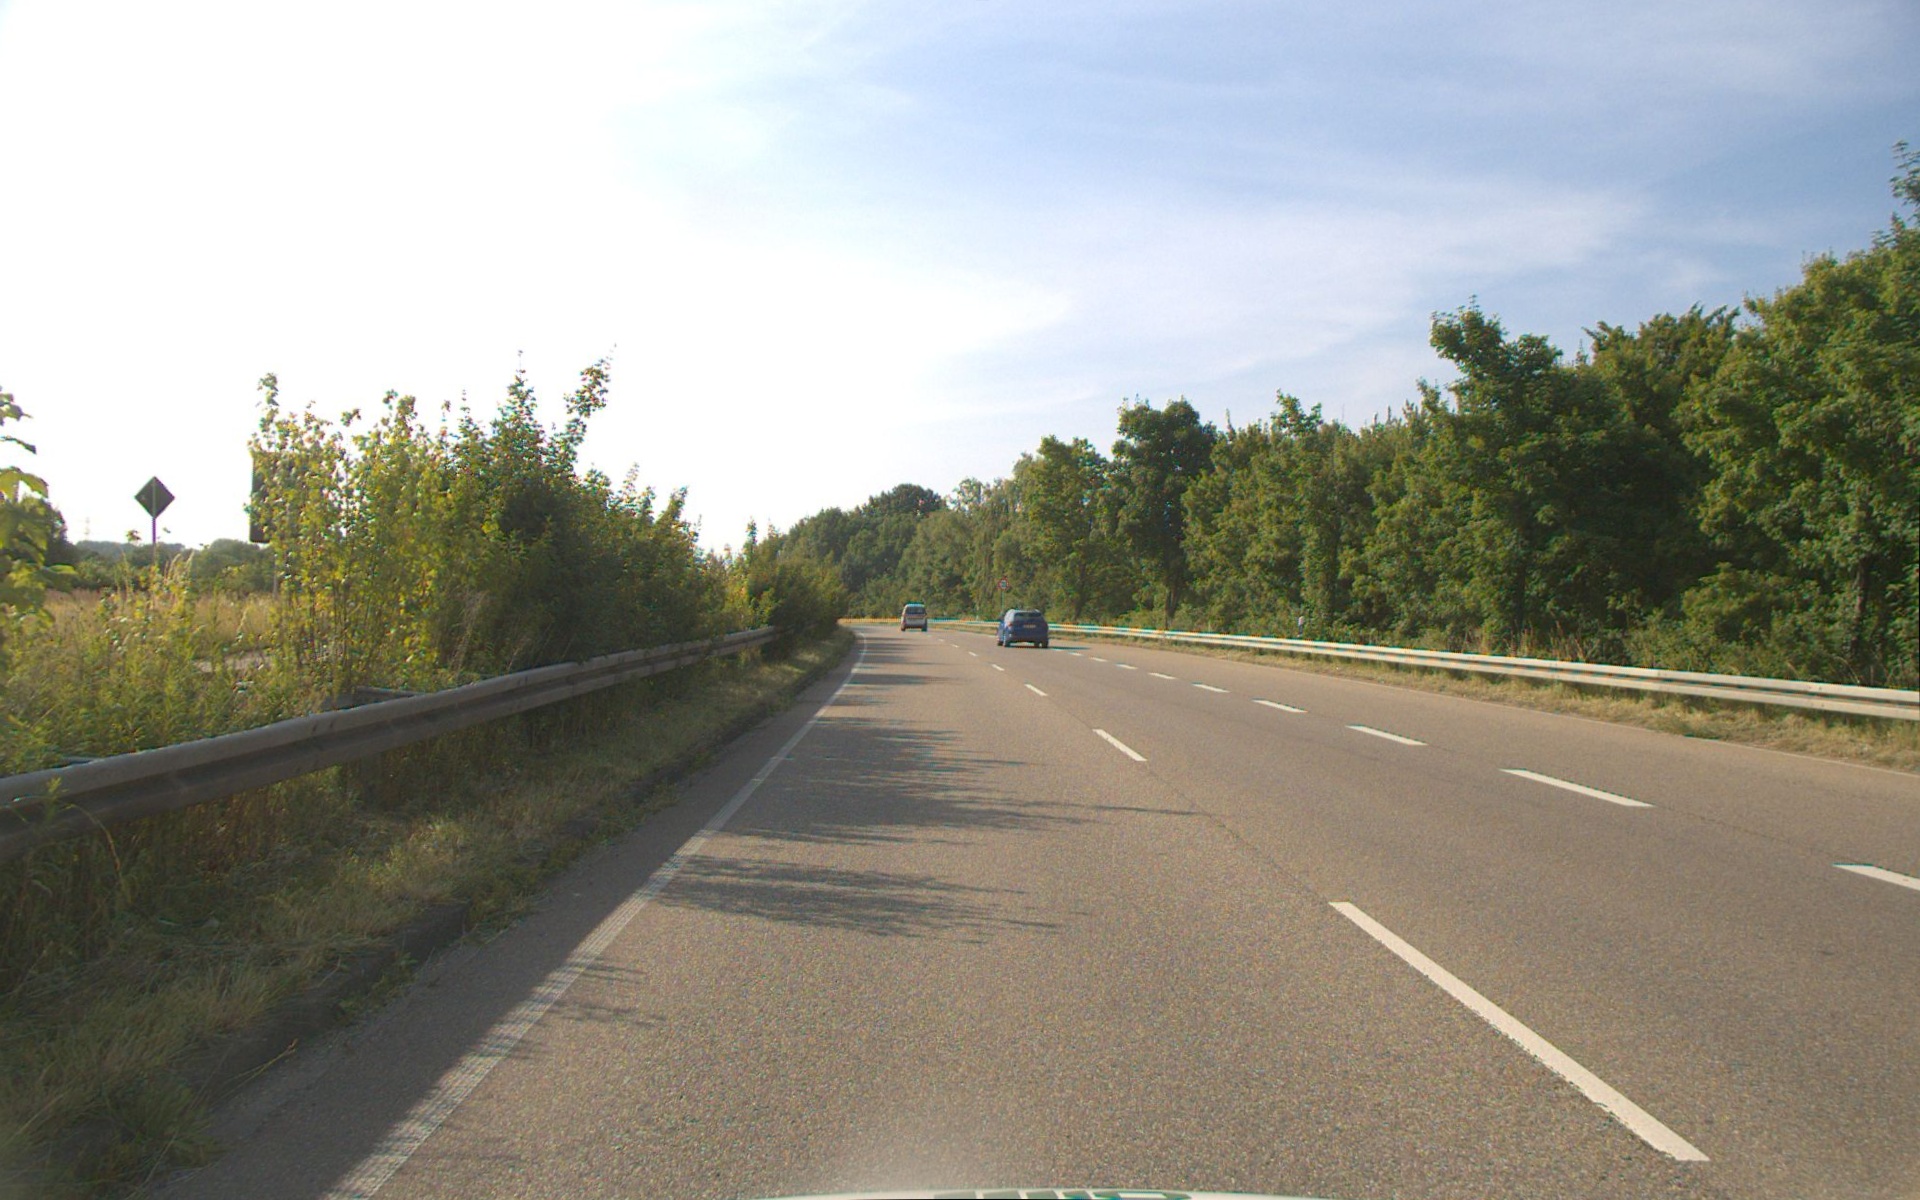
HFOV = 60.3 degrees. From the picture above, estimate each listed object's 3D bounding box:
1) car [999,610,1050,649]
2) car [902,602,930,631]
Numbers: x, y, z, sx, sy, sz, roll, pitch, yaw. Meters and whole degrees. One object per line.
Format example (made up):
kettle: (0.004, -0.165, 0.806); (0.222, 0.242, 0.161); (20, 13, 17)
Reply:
car: (2.520, 1.164, 65.837); (1.743, 1.477, 3.998); (1, -1, -2)
car: (-3.030, 1.115, 113.564); (1.731, 1.915, 3.996); (1, 0, -4)
